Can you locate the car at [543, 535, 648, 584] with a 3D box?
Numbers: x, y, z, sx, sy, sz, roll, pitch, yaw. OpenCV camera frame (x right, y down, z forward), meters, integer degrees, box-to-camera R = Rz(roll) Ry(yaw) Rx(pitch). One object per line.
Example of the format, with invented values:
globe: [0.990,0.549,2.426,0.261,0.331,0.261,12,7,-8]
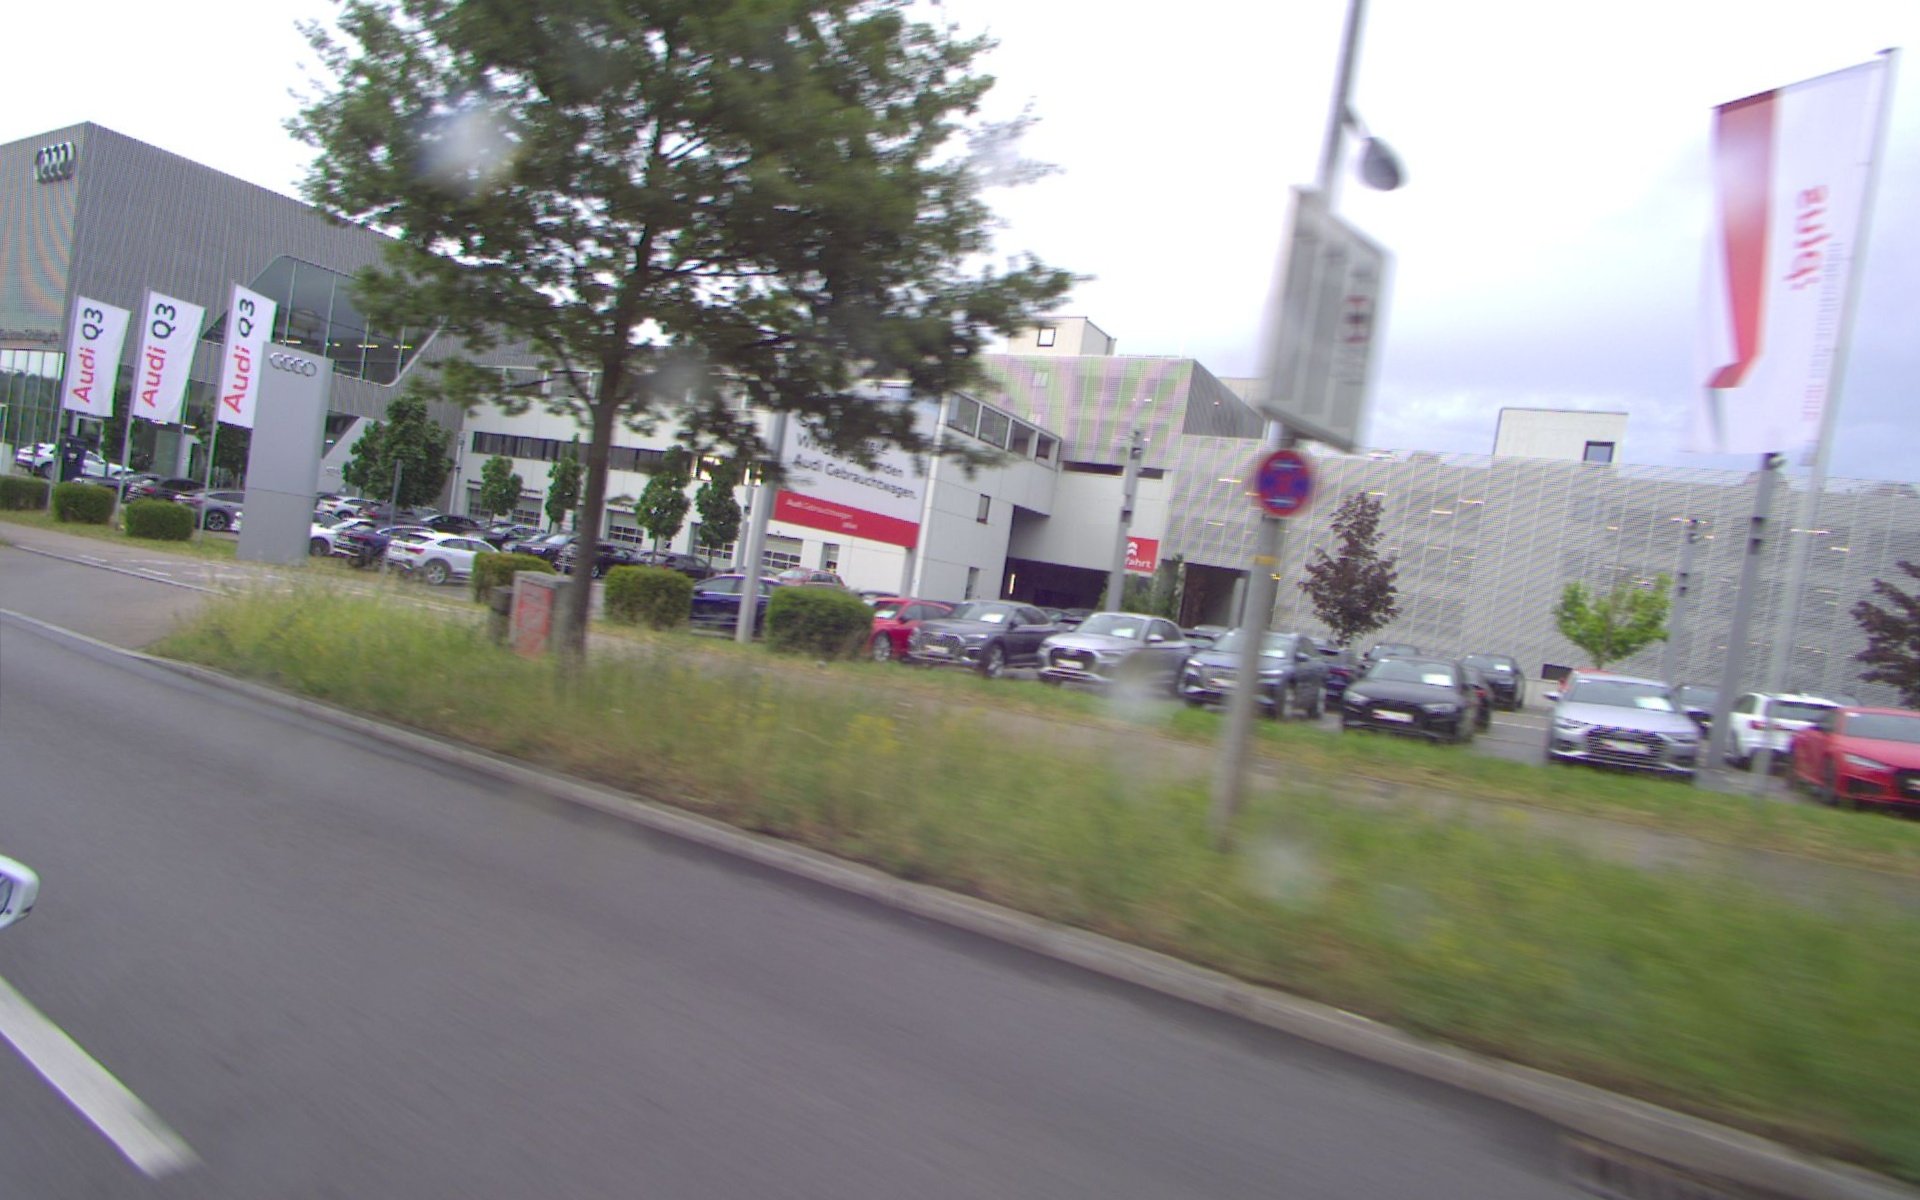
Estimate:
car: [-16.094,-1.779,44.613,1.664,1.593,4.113,6,-2,30]

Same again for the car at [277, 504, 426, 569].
car: [-21.497,-2.217,35.678,1.664,1.612,4.113,6,-2,31]

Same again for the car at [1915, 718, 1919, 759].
car: [26.978,3.617,26.266,1.796,1.613,4.284,6,-1,29]

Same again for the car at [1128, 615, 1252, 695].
car: [5.909,1.369,25.520,1.965,1.670,3.993,6,1,28]

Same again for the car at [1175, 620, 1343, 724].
car: [5.821,1.347,19.183,1.899,1.547,4.466,6,0,31]

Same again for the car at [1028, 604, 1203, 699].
car: [3.326,1.066,20.701,1.899,1.570,4.466,6,0,31]

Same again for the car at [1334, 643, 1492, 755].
car: [7.970,1.624,17.448,1.899,1.474,4.466,6,0,31]

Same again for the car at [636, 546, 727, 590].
car: [-13.556,-1.527,49.190,1.664,1.593,4.111,7,-1,32]

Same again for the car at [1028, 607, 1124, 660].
car: [4.590,1.321,40.244,3.496,1.614,1.770,7,2,0]

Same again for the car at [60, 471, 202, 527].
car: [-36.531,-4.417,44.438,1.664,1.592,4.429,8,-1,31]

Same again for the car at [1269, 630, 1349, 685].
car: [12.268,2.047,35.187,1.796,1.613,4.284,6,-1,29]

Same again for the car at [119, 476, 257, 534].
car: [-32.031,-3.926,41.857,1.664,1.592,4.113,8,-1,31]

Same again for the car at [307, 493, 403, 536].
car: [-33.103,-4.665,55.167,1.664,1.592,4.113,8,-1,31]

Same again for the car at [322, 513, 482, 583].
car: [-18.161,-1.663,32.933,1.840,1.612,4.113,6,-2,31]

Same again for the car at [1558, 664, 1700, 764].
car: [13.378,2.218,20.384,1.898,1.570,4.469,6,-1,29]

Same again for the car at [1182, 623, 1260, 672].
car: [10.211,1.883,39.118,1.796,1.613,4.284,6,-1,29]

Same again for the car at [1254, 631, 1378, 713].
car: [8.463,1.707,23.686,1.796,1.570,4.282,6,-1,31]

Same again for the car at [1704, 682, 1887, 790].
car: [15.782,2.482,19.260,1.796,1.570,4.284,6,-1,29]

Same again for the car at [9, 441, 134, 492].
car: [-44.401,-6.651,50.370,1.664,1.592,4.268,8,-1,31]

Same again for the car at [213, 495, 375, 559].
car: [-23.969,-2.603,36.391,1.664,1.613,4.527,6,-1,31]

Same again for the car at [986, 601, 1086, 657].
car: [2.808,1.048,37.746,3.496,1.614,1.770,7,2,0]

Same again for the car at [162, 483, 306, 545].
car: [-28.174,-3.325,39.176,1.664,1.628,4.113,8,-1,31]

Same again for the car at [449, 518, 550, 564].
car: [-22.290,-2.829,48.835,1.664,1.593,4.112,7,-1,31]

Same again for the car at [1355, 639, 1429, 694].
car: [15.152,2.346,35.147,1.796,1.613,4.284,6,-1,29]

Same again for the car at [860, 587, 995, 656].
car: [-0.974,0.633,31.147,3.919,1.614,1.770,7,2,0]

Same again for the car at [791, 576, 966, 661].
car: [-1.758,0.499,23.402,1.897,1.570,4.471,6,-1,27]

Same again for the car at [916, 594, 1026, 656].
car: [0.359,0.827,34.168,3.496,1.614,1.770,7,2,0]

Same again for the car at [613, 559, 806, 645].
car: [-6.259,0.066,25.450,4.279,1.613,1.838,7,0,1]

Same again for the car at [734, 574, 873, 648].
car: [-4.353,0.280,28.392,3.496,1.614,1.770,7,2,0]

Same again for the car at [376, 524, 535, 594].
car: [-15.856,-1.248,31.832,1.913,1.613,4.119,6,-2,23]

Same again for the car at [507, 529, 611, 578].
car: [-18.244,-2.072,45.926,1.664,1.592,4.113,7,-1,31]

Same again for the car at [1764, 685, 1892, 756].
car: [24.650,3.362,28.749,1.796,1.613,4.284,6,-1,29]

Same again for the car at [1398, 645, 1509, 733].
car: [11.233,1.979,22.729,1.898,1.570,4.469,6,-1,29]

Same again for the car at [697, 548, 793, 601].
car: [-10.034,-1.172,47.160,1.967,1.899,3.993,8,-1,32]

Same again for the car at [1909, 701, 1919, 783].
car: [18.487,2.706,17.460,1.796,1.570,4.284,6,-1,29]

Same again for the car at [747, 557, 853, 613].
car: [-7.198,-0.630,45.571,1.969,1.877,4.530,7,-1,35]

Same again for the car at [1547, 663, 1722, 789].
car: [10.529,1.894,16.007,1.899,1.473,4.468,6,-1,31]

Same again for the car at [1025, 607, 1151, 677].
car: [3.608,1.151,27.534,1.897,1.570,4.469,6,0,27]

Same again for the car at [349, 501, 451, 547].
car: [-28.800,-3.876,51.831,1.795,1.592,4.113,8,-1,31]

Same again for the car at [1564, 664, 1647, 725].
car: [20.446,2.967,32.005,1.796,1.613,4.284,6,-1,29]

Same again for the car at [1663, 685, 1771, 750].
car: [21.838,3.323,29.186,1.796,1.486,4.284,6,-1,29]

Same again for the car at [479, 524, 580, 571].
car: [-20.502,-2.473,48.020,1.664,1.593,4.112,8,0,31]

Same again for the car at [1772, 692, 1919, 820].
car: [13.201,2.167,14.256,1.899,1.365,4.401,6,0,31]

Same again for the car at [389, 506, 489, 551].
car: [-26.335,-3.595,51.006,1.664,1.593,4.112,8,0,31]

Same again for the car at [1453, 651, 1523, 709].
car: [17.665,2.652,33.586,1.796,1.613,4.284,6,-1,29]
